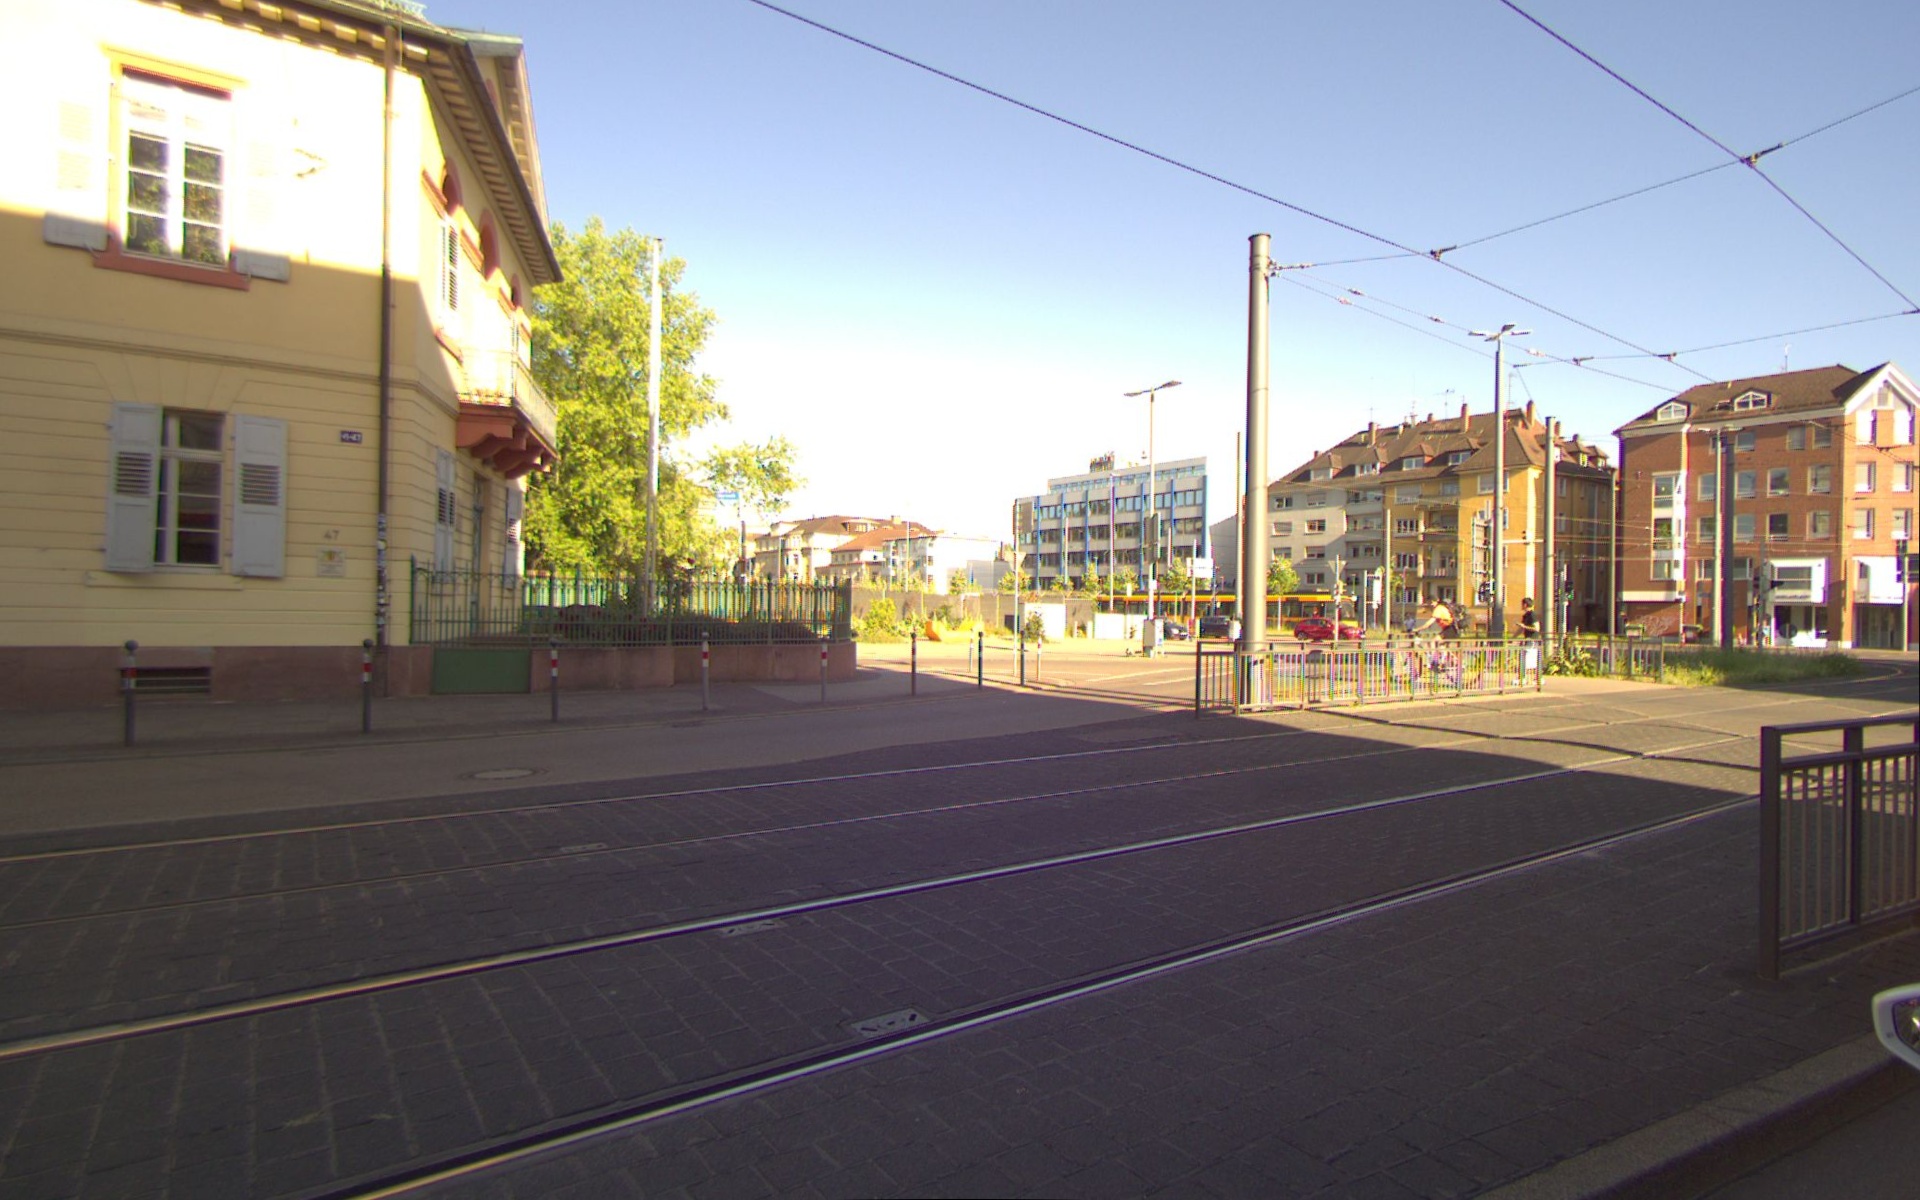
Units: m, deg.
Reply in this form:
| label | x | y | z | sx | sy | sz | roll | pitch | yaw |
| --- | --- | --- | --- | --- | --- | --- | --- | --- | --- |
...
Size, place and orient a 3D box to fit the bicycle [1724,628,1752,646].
| label | x | y | z | sx | sy | sz | roll | pitch | yaw |
| --- | --- | --- | --- | --- | --- | --- | --- | --- | --- |
| bicycle | 45.581 | 2.171 | 58.844 | 2.220 | 0.984 | 0.521 | 2 | 0 | -31 |

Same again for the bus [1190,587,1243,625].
| label | x | y | z | sx | sy | sz | roll | pitch | yaw |
| --- | --- | --- | --- | --- | --- | --- | --- | --- | --- |
| bus | 22.434 | 0.514 | 87.837 | 2.744 | 3.172 | 3.493 | 2 | 0 | -35 |

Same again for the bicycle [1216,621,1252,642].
| label | x | y | z | sx | sy | sz | roll | pitch | yaw |
| --- | --- | --- | --- | --- | --- | --- | --- | --- | --- |
| bicycle | 17.050 | 1.974 | 62.519 | 0.542 | 1.230 | 2.168 | 2 | 0 | -41 |

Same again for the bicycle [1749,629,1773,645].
| label | x | y | z | sx | sy | sz | roll | pitch | yaw |
| --- | --- | --- | --- | --- | --- | --- | --- | --- | --- |
| bicycle | 50.364 | 2.341 | 63.136 | 1.669 | 0.994 | 0.403 | 2 | 0 | -22 |

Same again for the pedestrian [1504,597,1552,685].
| label | x | y | z | sx | sy | sz | roll | pitch | yaw |
| --- | --- | --- | --- | --- | --- | --- | --- | --- | --- |
| pedestrian | 11.310 | 0.799 | 19.993 | 0.768 | 1.703 | 0.585 | 2 | 0 | -41 |

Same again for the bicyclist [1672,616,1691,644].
| label | x | y | z | sx | sy | sz | roll | pitch | yaw |
| --- | --- | --- | --- | --- | --- | --- | --- | --- | --- |
| bicyclist | 39.775 | 1.650 | 55.378 | 0.688 | 1.523 | 0.630 | 2 | 0 | -30 |

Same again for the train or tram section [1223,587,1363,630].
| label | x | y | z | sx | sy | sz | roll | pitch | yaw |
| --- | --- | --- | --- | --- | --- | --- | --- | --- | --- |
| train or tram section | 26.946 | 0.619 | 82.012 | 2.781 | 3.172 | 11.143 | 2 | 0 | -38 |

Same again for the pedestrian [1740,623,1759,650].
| label | x | y | z | sx | sy | sz | roll | pitch | yaw |
| --- | --- | --- | --- | --- | --- | --- | --- | --- | --- |
| pedestrian | 55.231 | 2.584 | 70.303 | 0.737 | 1.845 | 0.781 | 2 | 0 | -28 |

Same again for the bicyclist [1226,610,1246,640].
| label | x | y | z | sx | sy | sz | roll | pitch | yaw |
| --- | --- | --- | --- | --- | --- | --- | --- | --- | --- |
| bicyclist | 17.164 | 1.534 | 62.416 | 0.785 | 1.832 | 0.892 | 2 | 0 | -41 |

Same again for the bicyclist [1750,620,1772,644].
| label | x | y | z | sx | sy | sz | roll | pitch | yaw |
| --- | --- | --- | --- | --- | --- | --- | --- | --- | --- |
| bicyclist | 50.365 | 1.991 | 63.160 | 0.958 | 1.490 | 0.702 | 1 | 0 | -22 |

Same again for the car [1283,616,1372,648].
| label | x | y | z | sx | sy | sz | roll | pitch | yaw |
| --- | --- | --- | --- | --- | --- | --- | --- | --- | --- |
| car | 21.874 | 1.888 | 59.895 | 1.984 | 1.723 | 4.545 | 2 | 0 | -41 |

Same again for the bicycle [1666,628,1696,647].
| label | x | y | z | sx | sy | sz | roll | pitch | yaw |
| --- | --- | --- | --- | --- | --- | --- | --- | --- | --- |
| bicycle | 39.741 | 2.066 | 55.356 | 2.220 | 0.984 | 0.444 | 2 | 0 | -31 |

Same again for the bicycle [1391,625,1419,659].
| label | x | y | z | sx | sy | sz | roll | pitch | yaw |
| --- | --- | --- | --- | --- | --- | --- | --- | --- | --- |
| bicycle | 16.993 | 1.581 | 38.335 | 0.478 | 1.238 | 1.847 | 2 | 0 | 38 |

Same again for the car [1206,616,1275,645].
| label | x | y | z | sx | sy | sz | roll | pitch | yaw |
| --- | --- | --- | --- | --- | --- | --- | --- | --- | --- |
| car | 18.008 | 1.946 | 64.577 | 1.762 | 1.694 | 3.955 | 2 | 0 | -39 |

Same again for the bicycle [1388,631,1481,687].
| label | x | y | z | sx | sy | sz | roll | pitch | yaw |
| --- | --- | --- | --- | --- | --- | --- | --- | --- | --- |
| bicycle | 9.224 | 1.140 | 19.560 | 1.570 | 1.007 | 0.404 | 2 | 0 | 18 |

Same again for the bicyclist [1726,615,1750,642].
| label | x | y | z | sx | sy | sz | roll | pitch | yaw |
| --- | --- | --- | --- | --- | --- | --- | --- | --- | --- |
| bicyclist | 45.556 | 1.680 | 58.826 | 0.688 | 1.523 | 0.894 | 2 | 0 | -30 |

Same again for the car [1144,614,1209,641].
| label | x | y | z | sx | sy | sz | roll | pitch | yaw |
| --- | --- | --- | --- | --- | --- | --- | --- | --- | --- |
| car | 14.749 | 1.876 | 68.569 | 1.895 | 1.708 | 3.916 | 2 | 0 | -41 |

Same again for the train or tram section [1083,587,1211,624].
| label | x | y | z | sx | sy | sz | roll | pitch | yaw |
| --- | --- | --- | --- | --- | --- | --- | --- | --- | --- |
| train or tram section | 17.380 | 0.398 | 94.815 | 2.709 | 3.172 | 13.572 | 2 | 0 | -37 |

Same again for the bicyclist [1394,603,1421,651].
| label | x | y | z | sx | sy | sz | roll | pitch | yaw |
| --- | --- | --- | --- | --- | --- | --- | --- | --- | --- |
| bicyclist | 17.107 | 1.016 | 38.387 | 0.747 | 1.783 | 0.749 | 2 | 0 | 40 |

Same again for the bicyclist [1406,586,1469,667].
| label | x | y | z | sx | sy | sz | roll | pitch | yaw |
| --- | --- | --- | --- | --- | --- | --- | --- | --- | --- |
| bicyclist | 9.281 | 0.508 | 19.542 | 1.023 | 1.542 | 0.392 | 2 | 0 | 18 |
